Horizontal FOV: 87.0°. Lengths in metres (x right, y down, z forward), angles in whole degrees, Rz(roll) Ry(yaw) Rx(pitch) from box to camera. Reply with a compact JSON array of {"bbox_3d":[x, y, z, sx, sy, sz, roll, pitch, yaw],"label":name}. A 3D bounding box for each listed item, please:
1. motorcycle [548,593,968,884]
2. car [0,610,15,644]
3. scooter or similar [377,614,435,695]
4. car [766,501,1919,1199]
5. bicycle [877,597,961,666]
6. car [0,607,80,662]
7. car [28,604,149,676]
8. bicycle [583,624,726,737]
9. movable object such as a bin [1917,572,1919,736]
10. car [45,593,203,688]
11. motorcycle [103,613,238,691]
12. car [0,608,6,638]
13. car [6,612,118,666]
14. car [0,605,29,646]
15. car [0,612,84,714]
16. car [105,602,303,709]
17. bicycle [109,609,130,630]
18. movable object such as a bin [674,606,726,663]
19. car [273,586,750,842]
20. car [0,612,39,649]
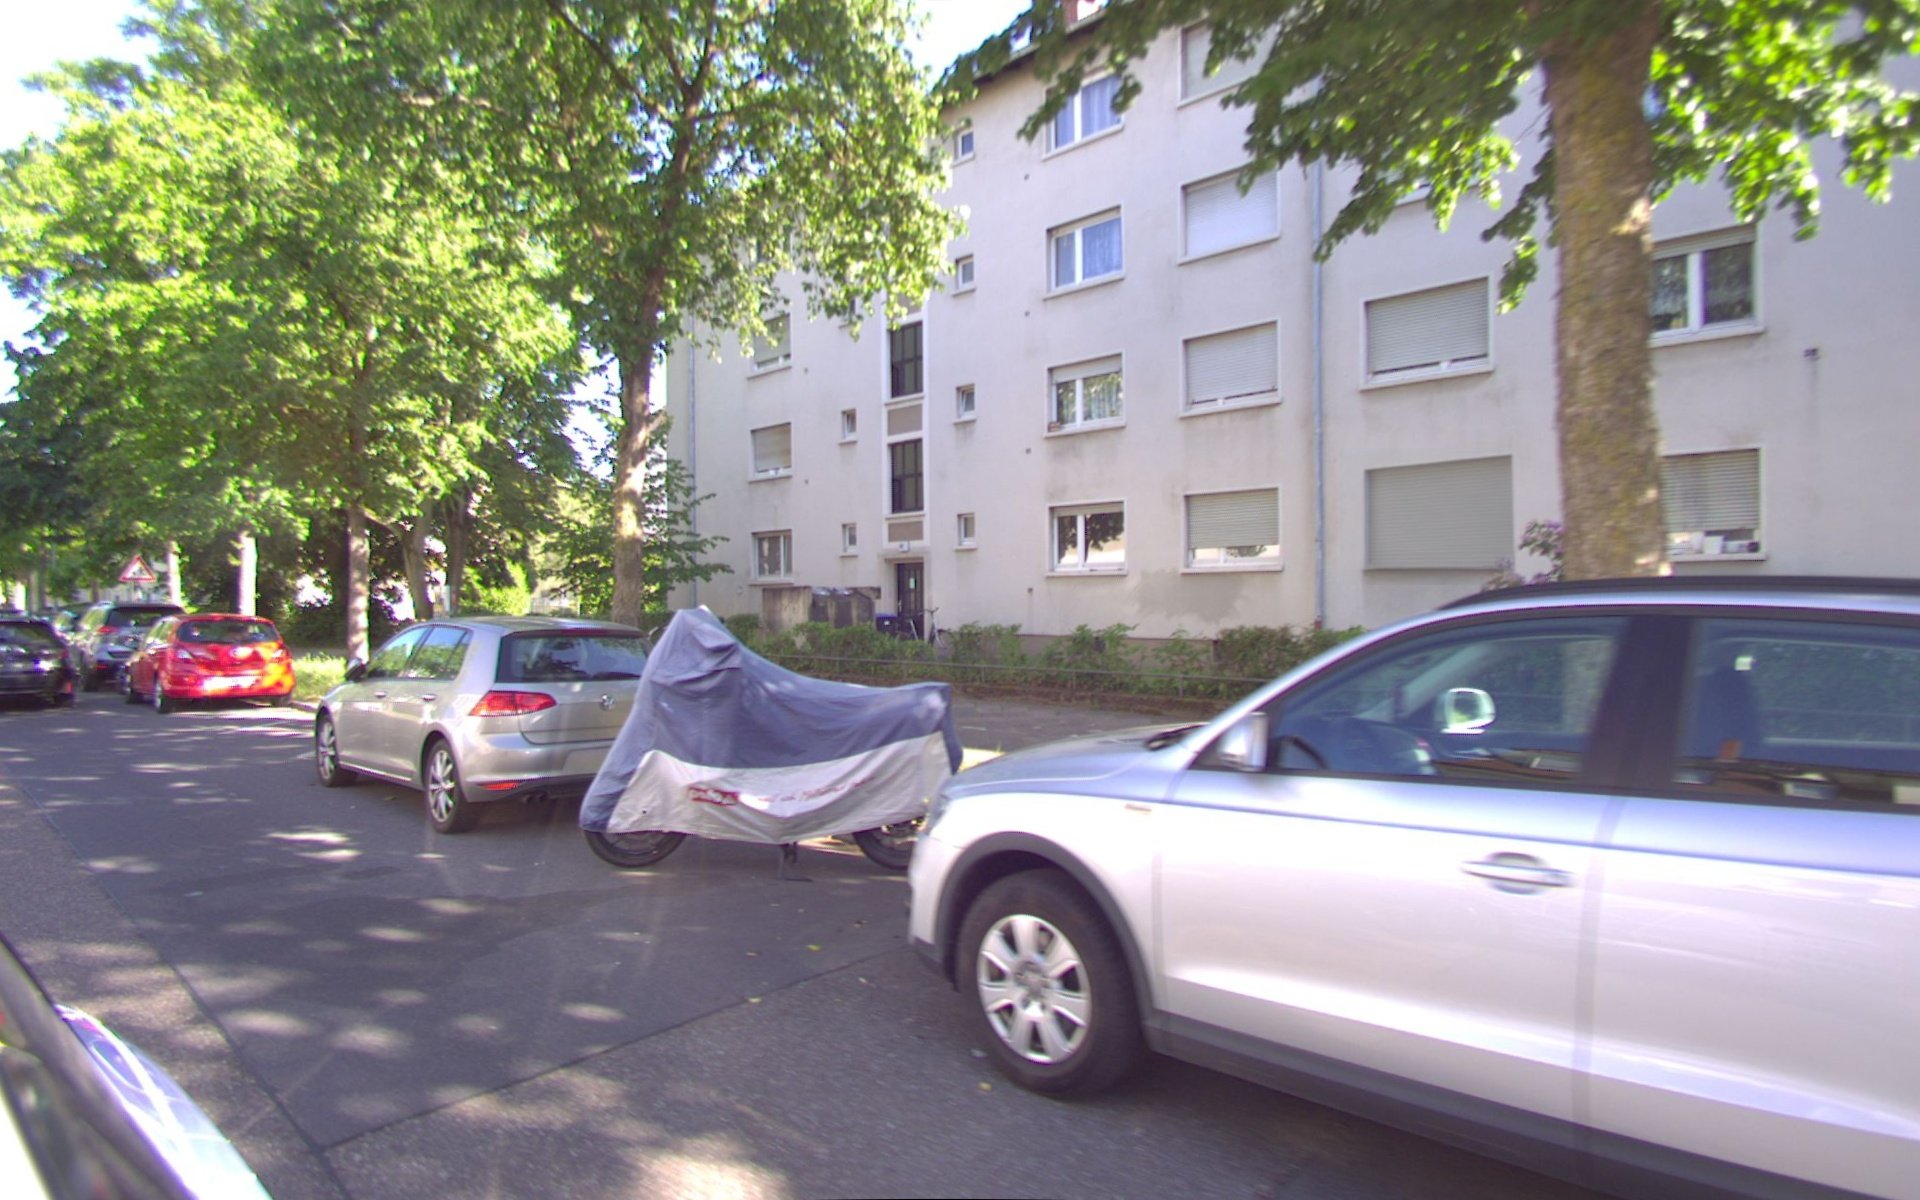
[{"bbox_3d":[-1.070,0.727,5.817,2.204,1.515,0.989,0,-1,3],"label":"motorcycle"},{"bbox_3d":[-44.914,1.232,46.563,4.488,1.492,1.688,-1,-1,41],"label":"car"},{"bbox_3d":[-9.059,0.861,16.586,0.547,1.244,1.518,0,0,-18],"label":"scooter or similar"},{"bbox_3d":[1.748,0.596,3.006,4.717,1.535,2.043,-1,0,40],"label":"car"},{"bbox_3d":[-0.825,0.600,19.869,1.913,1.299,0.394,-1,0,42],"label":"bicycle"},{"bbox_3d":[-28.576,1.021,31.246,4.482,1.589,1.687,-1,-1,44],"label":"car"},{"bbox_3d":[-20.753,0.888,24.032,4.420,1.543,1.749,-1,0,43],"label":"car"},{"bbox_3d":[-3.335,0.819,10.919,0.524,1.022,2.093,-10,6,-41],"label":"bicycle"},{"bbox_3d":[8.123,0.436,7.506,1.377,1.334,0.921,0,0,37],"label":"movable object such as a bin"},{"bbox_3d":[-16.949,0.754,20.434,4.812,1.701,1.749,-1,-1,42],"label":"car"},{"bbox_3d":[-14.546,0.923,18.680,1.928,1.342,0.788,0,-1,-40],"label":"motorcycle"},{"bbox_3d":[-48.601,1.129,49.977,4.488,1.463,1.774,-1,-1,42],"label":"car"},{"bbox_3d":[-24.690,1.002,27.770,4.479,1.363,1.766,-1,-1,41],"label":"car"},{"bbox_3d":[-41.047,1.061,42.936,5.086,1.669,1.822,-1,-1,42],"label":"car"},{"bbox_3d":[-15.357,0.913,15.919,4.364,1.456,1.790,0,-1,41],"label":"car"},{"bbox_3d":[-12.250,0.802,16.297,4.182,1.480,1.836,-1,0,43],"label":"car"},{"bbox_3d":[-48.548,1.125,58.453,2.260,1.199,0.588,-1,-1,41],"label":"bicycle"},{"bbox_3d":[-5.104,0.667,19.838,0.760,1.076,0.686,-1,0,44],"label":"movable object such as a bin"},{"bbox_3d":[-3.928,0.696,8.401,4.607,1.535,2.020,-1,0,44],"label":"car"},{"bbox_3d":[-37.205,1.149,39.314,4.187,1.384,1.637,-1,-1,41],"label":"car"}]
